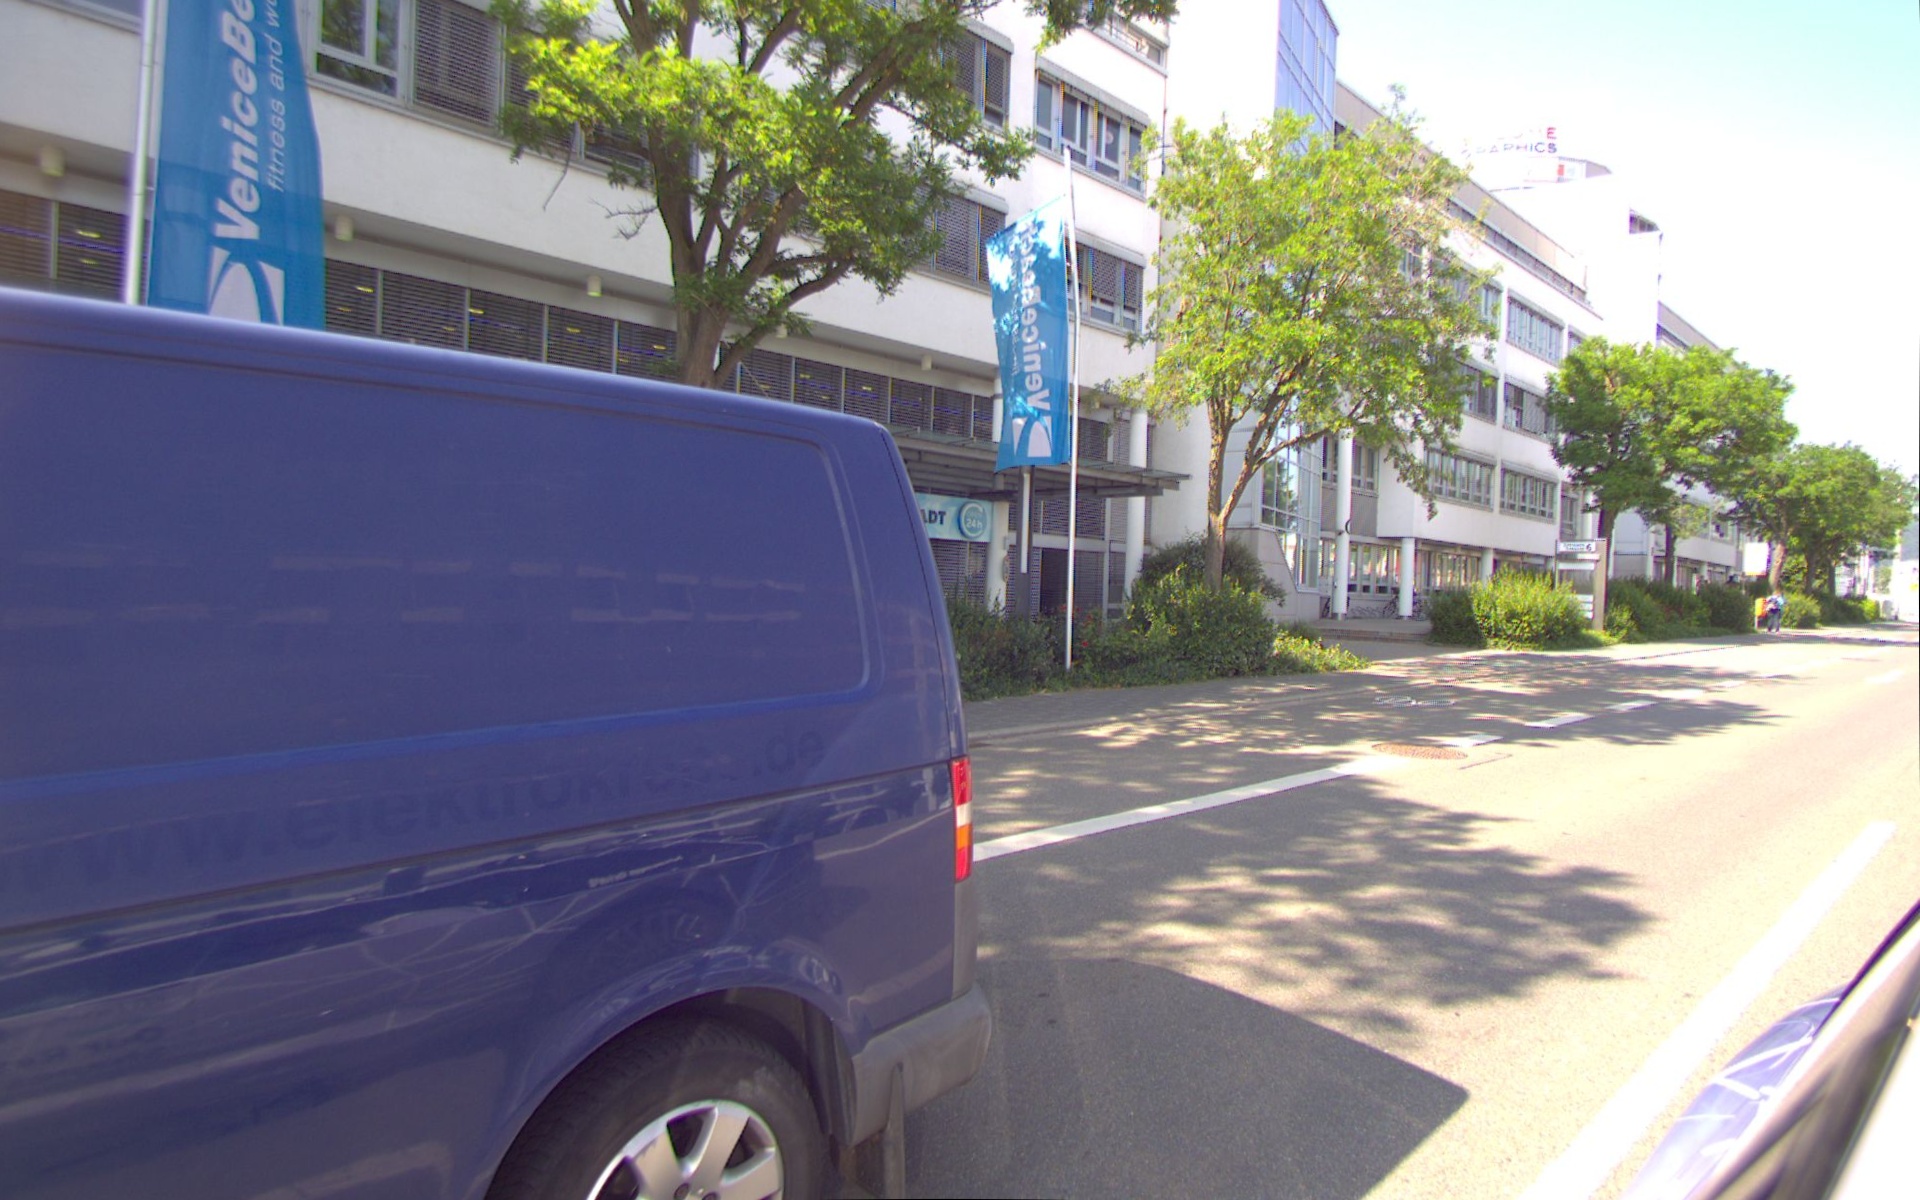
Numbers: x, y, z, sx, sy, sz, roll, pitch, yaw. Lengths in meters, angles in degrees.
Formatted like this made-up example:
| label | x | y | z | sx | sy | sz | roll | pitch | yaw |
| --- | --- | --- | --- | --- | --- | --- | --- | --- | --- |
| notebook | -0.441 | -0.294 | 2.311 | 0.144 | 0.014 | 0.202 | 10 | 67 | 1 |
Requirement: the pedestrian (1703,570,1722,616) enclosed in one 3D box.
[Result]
| label | x | y | z | sx | sy | sz | roll | pitch | yaw |
| --- | --- | --- | --- | --- | --- | --- | --- | --- | --- |
| pedestrian | 42.812 | -0.424 | 57.594 | 0.704 | 2.581 | 0.716 | 0 | 1 | -43 |

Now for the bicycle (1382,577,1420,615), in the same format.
| label | x | y | z | sx | sy | sz | roll | pitch | yaw |
| --- | --- | --- | --- | --- | --- | --- | --- | --- | --- |
| bicycle | 16.360 | -0.149 | 37.534 | 1.852 | 1.371 | 0.506 | 0 | 1 | -41 |

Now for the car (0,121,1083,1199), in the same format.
| label | x | y | z | sx | sy | sz | roll | pitch | yaw |
| --- | --- | --- | --- | --- | --- | --- | --- | --- | --- |
| car | -2.173 | 0.407 | 1.596 | 4.806 | 1.972 | 1.997 | -1 | 2 | -41 |

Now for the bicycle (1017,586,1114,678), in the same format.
| label | x | y | z | sx | sy | sz | roll | pitch | yaw |
| --- | --- | --- | --- | --- | --- | --- | --- | --- | --- |
| bicycle | 1.677 | 0.476 | 15.817 | 0.504 | 1.346 | 1.856 | 2 | 1 | 41 |

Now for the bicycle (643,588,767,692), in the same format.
| label | x | y | z | sx | sy | sz | roll | pitch | yaw |
| --- | --- | --- | --- | --- | --- | --- | --- | --- | --- |
| bicycle | -3.636 | 0.534 | 14.379 | 1.868 | 1.346 | 0.501 | 2 | 1 | 30 |

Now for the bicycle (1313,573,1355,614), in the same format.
| label | x | y | z | sx | sy | sz | roll | pitch | yaw |
| --- | --- | --- | --- | --- | --- | --- | --- | --- | --- |
| bicycle | 12.900 | -0.218 | 34.893 | 1.852 | 1.371 | 0.506 | 0 | 1 | -41 |

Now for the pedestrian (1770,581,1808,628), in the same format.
| label | x | y | z | sx | sy | sz | roll | pitch | yaw |
| --- | --- | --- | --- | --- | --- | --- | --- | --- | --- |
| pedestrian | 35.183 | 0.180 | 42.956 | 1.267 | 1.909 | 0.942 | 0 | 4 | -41 |
